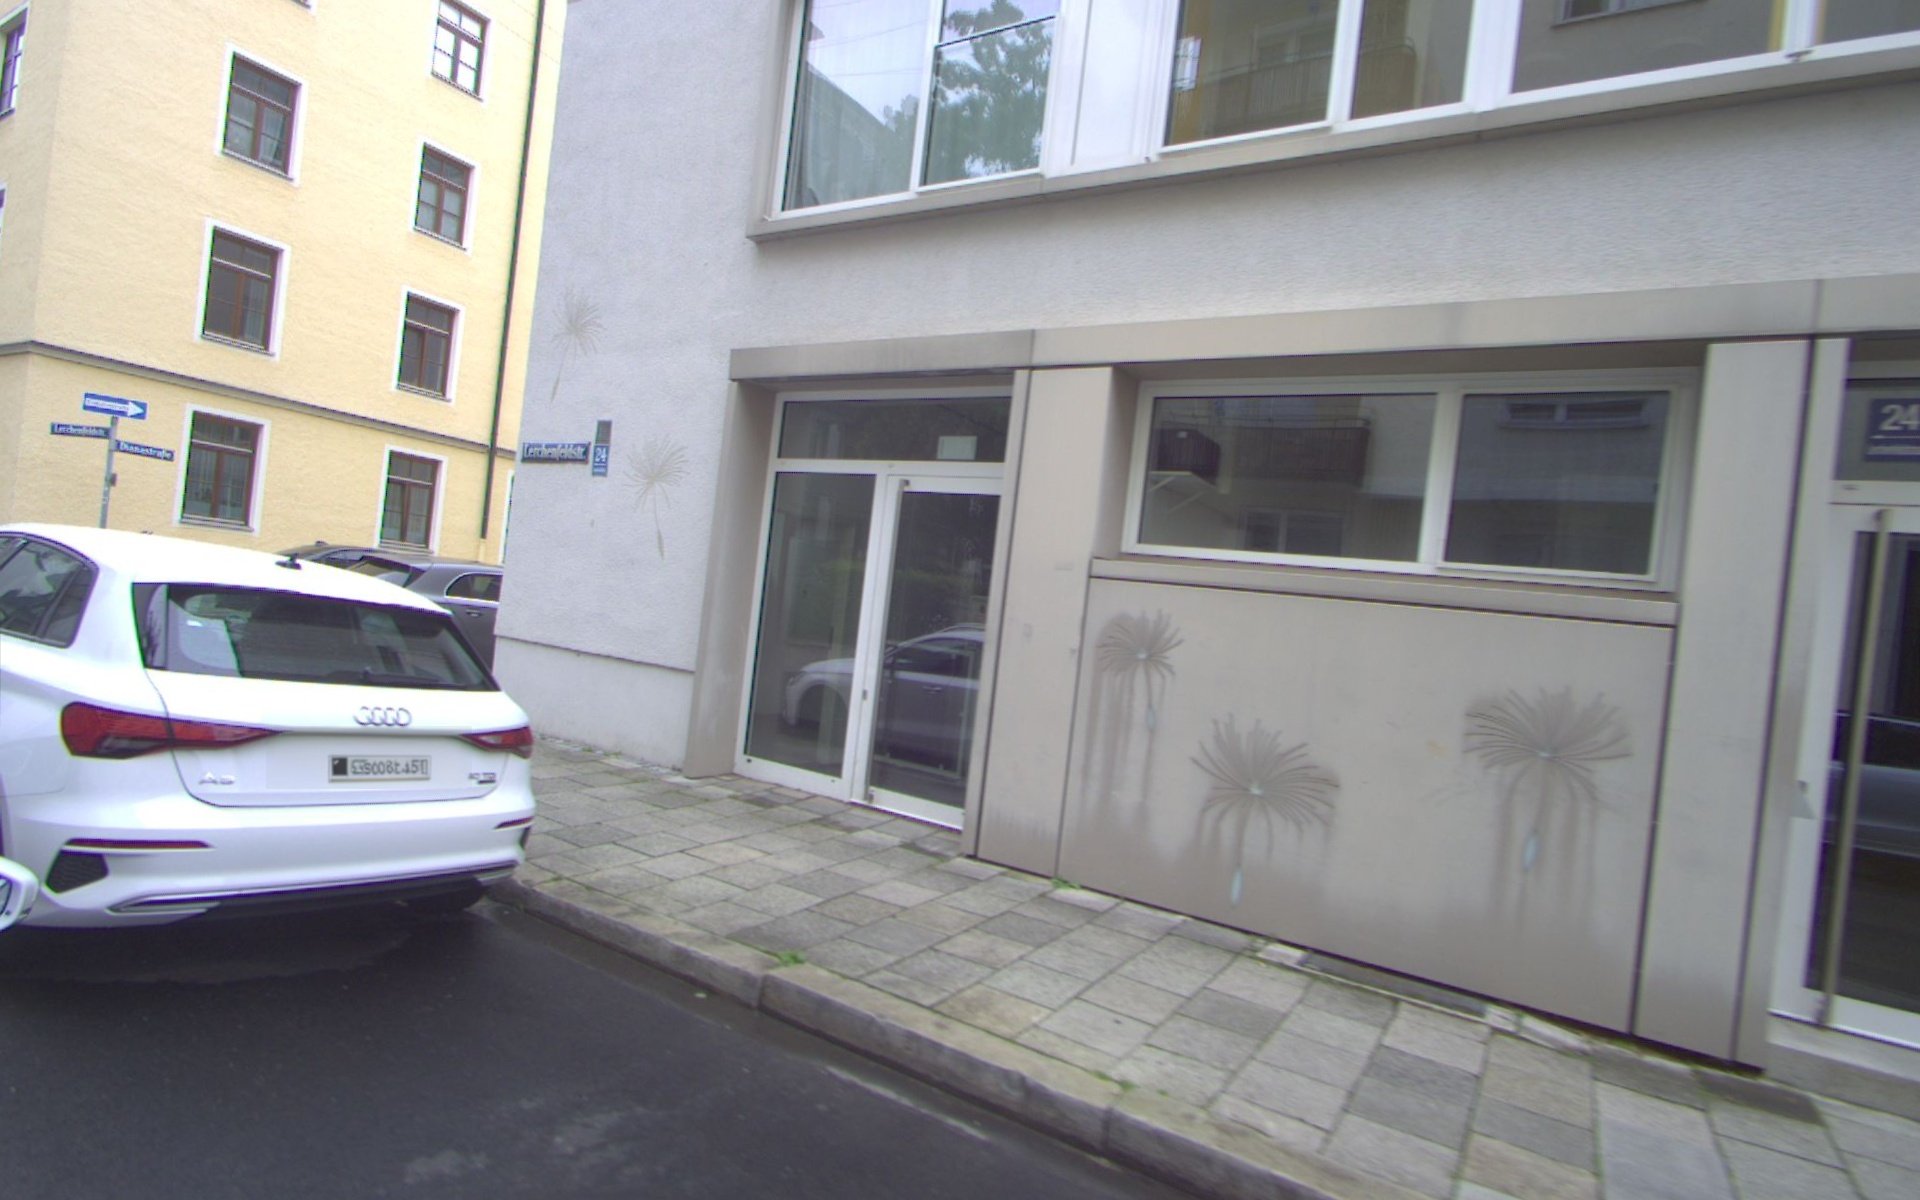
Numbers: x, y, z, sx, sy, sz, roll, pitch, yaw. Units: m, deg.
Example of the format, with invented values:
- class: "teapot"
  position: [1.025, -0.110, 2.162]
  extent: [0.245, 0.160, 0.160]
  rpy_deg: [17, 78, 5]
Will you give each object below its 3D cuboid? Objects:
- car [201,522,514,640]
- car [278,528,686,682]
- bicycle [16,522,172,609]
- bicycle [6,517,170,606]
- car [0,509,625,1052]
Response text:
- class: "car"
  position: [-10.126, -0.247, 17.262]
  extent: [1.683, 1.511, 4.219]
  rpy_deg: [6, -2, 31]
- class: "car"
  position: [-5.809, 0.164, 12.788]
  extent: [1.966, 1.417, 4.211]
  rpy_deg: [9, 0, 30]
- class: "bicycle"
  position: [-13.216, -0.501, 15.406]
  extent: [0.367, 1.154, 1.714]
  rpy_deg: [9, 2, 32]
- class: "bicycle"
  position: [-13.600, -0.575, 15.746]
  extent: [0.497, 1.189, 1.810]
  rpy_deg: [9, 2, 31]
- class: "car"
  position: [-3.604, 0.409, 4.515]
  extent: [3.887, 1.424, 1.822]
  rpy_deg: [6, -2, 32]
